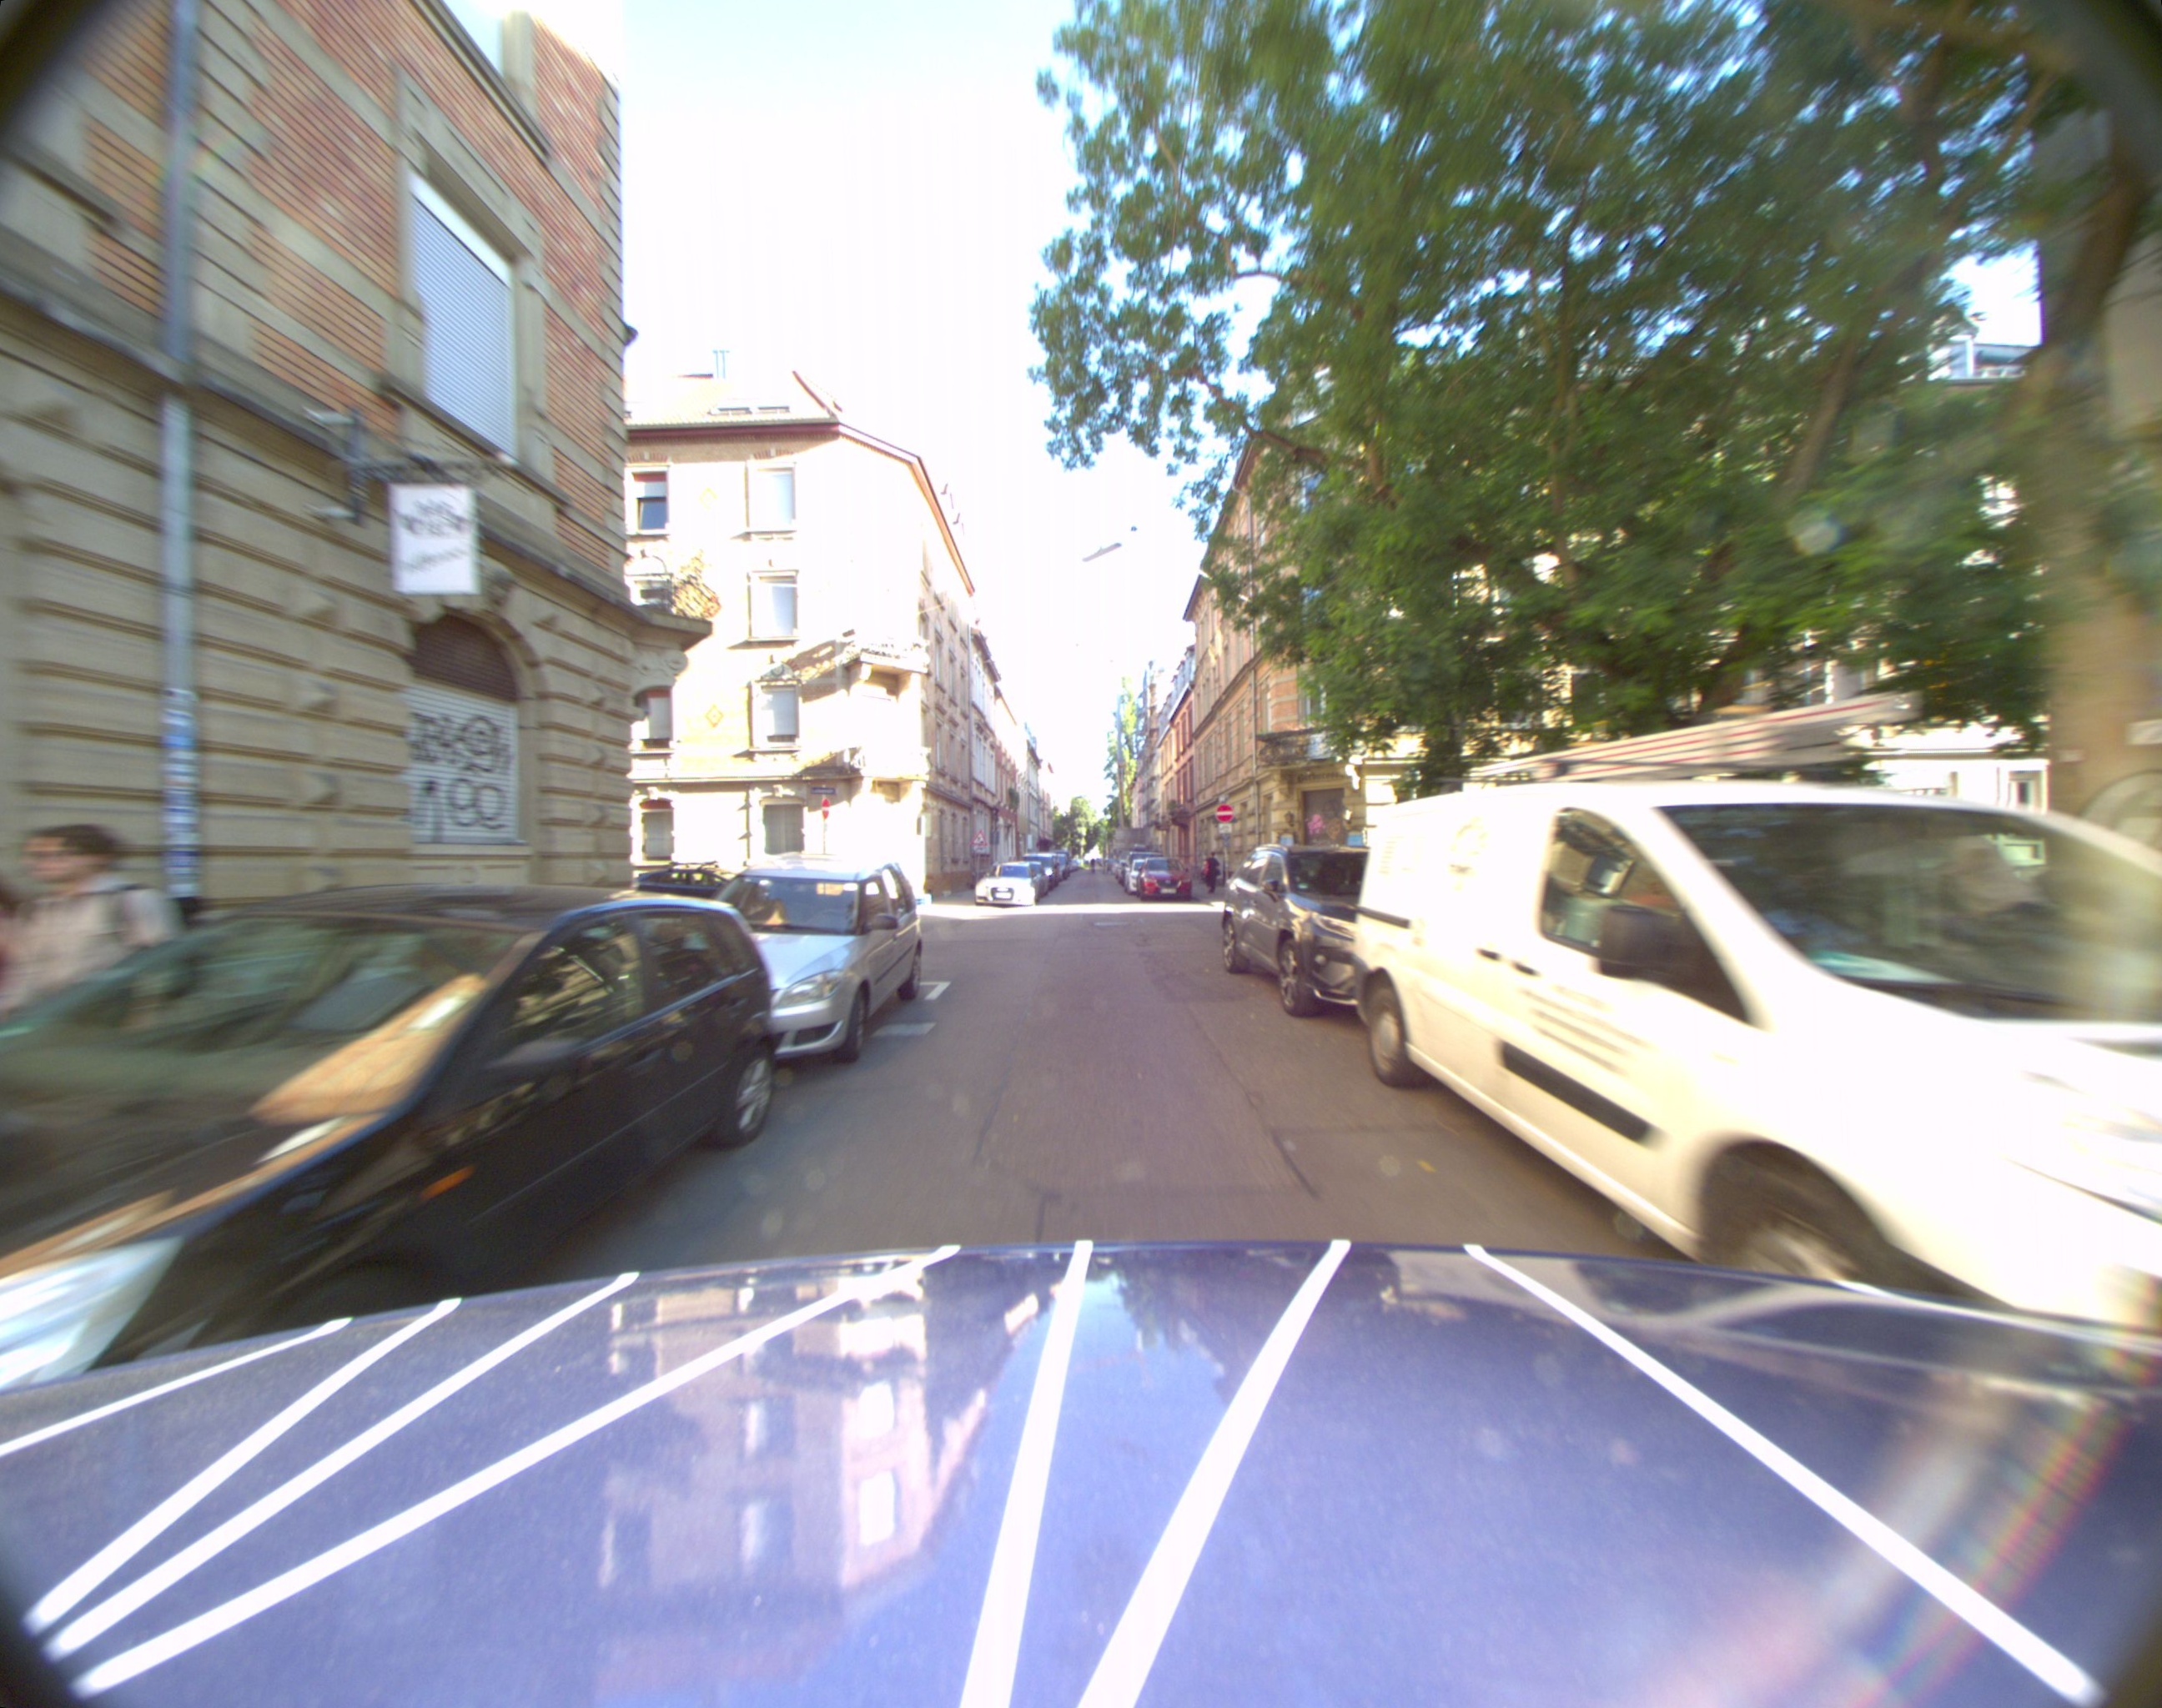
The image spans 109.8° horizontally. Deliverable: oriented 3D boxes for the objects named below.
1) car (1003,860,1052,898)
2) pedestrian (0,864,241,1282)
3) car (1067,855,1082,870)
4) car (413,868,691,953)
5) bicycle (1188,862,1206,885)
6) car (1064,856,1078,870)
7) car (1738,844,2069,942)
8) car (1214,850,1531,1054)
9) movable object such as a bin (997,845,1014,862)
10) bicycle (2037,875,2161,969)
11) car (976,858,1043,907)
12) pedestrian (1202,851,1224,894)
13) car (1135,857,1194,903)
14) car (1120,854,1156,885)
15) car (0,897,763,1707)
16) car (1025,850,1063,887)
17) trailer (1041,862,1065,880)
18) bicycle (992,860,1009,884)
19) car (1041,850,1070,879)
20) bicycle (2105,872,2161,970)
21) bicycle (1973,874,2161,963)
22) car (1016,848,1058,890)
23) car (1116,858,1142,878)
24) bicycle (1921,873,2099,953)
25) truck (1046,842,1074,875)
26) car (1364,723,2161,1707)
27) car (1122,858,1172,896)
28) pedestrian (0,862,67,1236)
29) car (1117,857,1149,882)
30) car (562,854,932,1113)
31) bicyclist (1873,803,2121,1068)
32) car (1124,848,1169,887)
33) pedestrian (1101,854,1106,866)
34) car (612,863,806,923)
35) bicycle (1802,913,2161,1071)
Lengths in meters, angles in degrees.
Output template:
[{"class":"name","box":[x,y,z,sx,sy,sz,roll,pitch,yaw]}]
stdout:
[{"class":"car","box":[-2.176,1.018,32.002,1.670,1.470,3.888,-1,-1,1]},{"class":"pedestrian","box":[-4.320,0.842,3.268,0.592,1.594,0.727,1,0,-1]},{"class":"car","box":[-0.784,0.951,88.362,1.525,1.525,3.463,5,0,1]},{"class":"car","box":[-9.707,1.004,14.146,3.990,1.443,1.734,-1,-1,2]},{"class":"bicycle","box":[6.014,0.987,39.382,0.668,1.118,1.785,-3,0,2]},{"class":"car","box":[-1.260,1.062,95.855,1.603,1.652,4.060,-3,0,1]},{"class":"car","box":[14.657,0.682,13.731,3.997,1.588,1.771,-1,-2,1]},{"class":"car","box":[2.751,0.801,8.315,1.745,1.637,4.288,0,0,-1]},{"class":"movable object such as a bin","box":[-4.670,-0.033,47.042,0.898,1.055,0.722,2,0,-1]},{"class":"bicycle","box":[12.368,0.776,8.875,1.780,1.048,0.478,0,0,0]},{"class":"car","box":[-2.342,0.915,26.006,1.710,1.450,4.511,-2,0,1]},{"class":"pedestrian","box":[4.999,0.687,28.758,0.668,1.571,0.760,-2,0,0]},{"class":"car","box":[2.906,0.872,27.243,1.727,1.472,4.090,-2,0,1]},{"class":"car","box":[3.162,0.819,42.730,1.792,1.615,4.608,-2,0,2]},{"class":"car","box":[-2.624,0.998,2.637,1.539,1.504,3.681,0,0,-1]},{"class":"car","box":[-2.129,0.793,44.733,1.836,2.002,4.742,-2,0,1]},{"class":"trailer","box":[-1.920,1.186,52.942,1.508,1.106,3.039,-4,0,-1]},{"class":"bicycle","box":[-4.608,1.015,43.456,0.728,1.296,1.692,2,0,1]},{"class":"car","box":[-1.885,0.768,57.220,1.849,1.972,4.576,-3,0,1]},{"class":"bicycle","box":[12.528,0.724,8.392,1.780,1.048,0.478,0,0,0]},{"class":"bicycle","box":[12.276,0.782,9.430,1.780,1.048,0.534,0,0,0]},{"class":"car","box":[-2.199,0.739,39.202,1.774,1.949,4.264,-2,0,1]},{"class":"car","box":[3.550,1.009,56.491,1.678,1.410,4.000,1,0,0]},{"class":"bicycle","box":[12.703,0.791,10.413,1.780,1.048,0.534,0,0,0]},{"class":"truck","box":[-1.853,0.397,67.599,2.154,2.642,6.252,3,0,-1]},{"class":"car","box":[2.815,0.712,3.017,1.850,1.851,4.466,0,0,2]},{"class":"car","box":[2.706,0.905,31.882,1.678,1.412,3.874,-2,0,0]},{"class":"pedestrian","box":[-4.941,0.839,3.112,0.575,1.612,0.734,1,0,-1]},{"class":"car","box":[3.235,0.947,47.931,1.703,1.306,4.000,-4,0,1]},{"class":"car","box":[-2.579,0.861,6.976,1.708,1.704,3.937,0,0,-1]},{"class":"bicyclist","box":[6.395,0.548,5.356,0.806,1.713,0.692,-4,1,9]},{"class":"car","box":[3.159,0.629,37.523,1.897,1.774,4.608,-2,0,2]},{"class":"pedestrian","box":[3.038,0.857,102.876,0.594,1.634,0.813,1,0,1]},{"class":"car","box":[-9.749,1.002,20.194,4.253,1.462,1.768,0,0,-5]},{"class":"bicycle","box":[6.430,0.947,5.358,1.764,0.917,0.827,-3,0,9]}]
